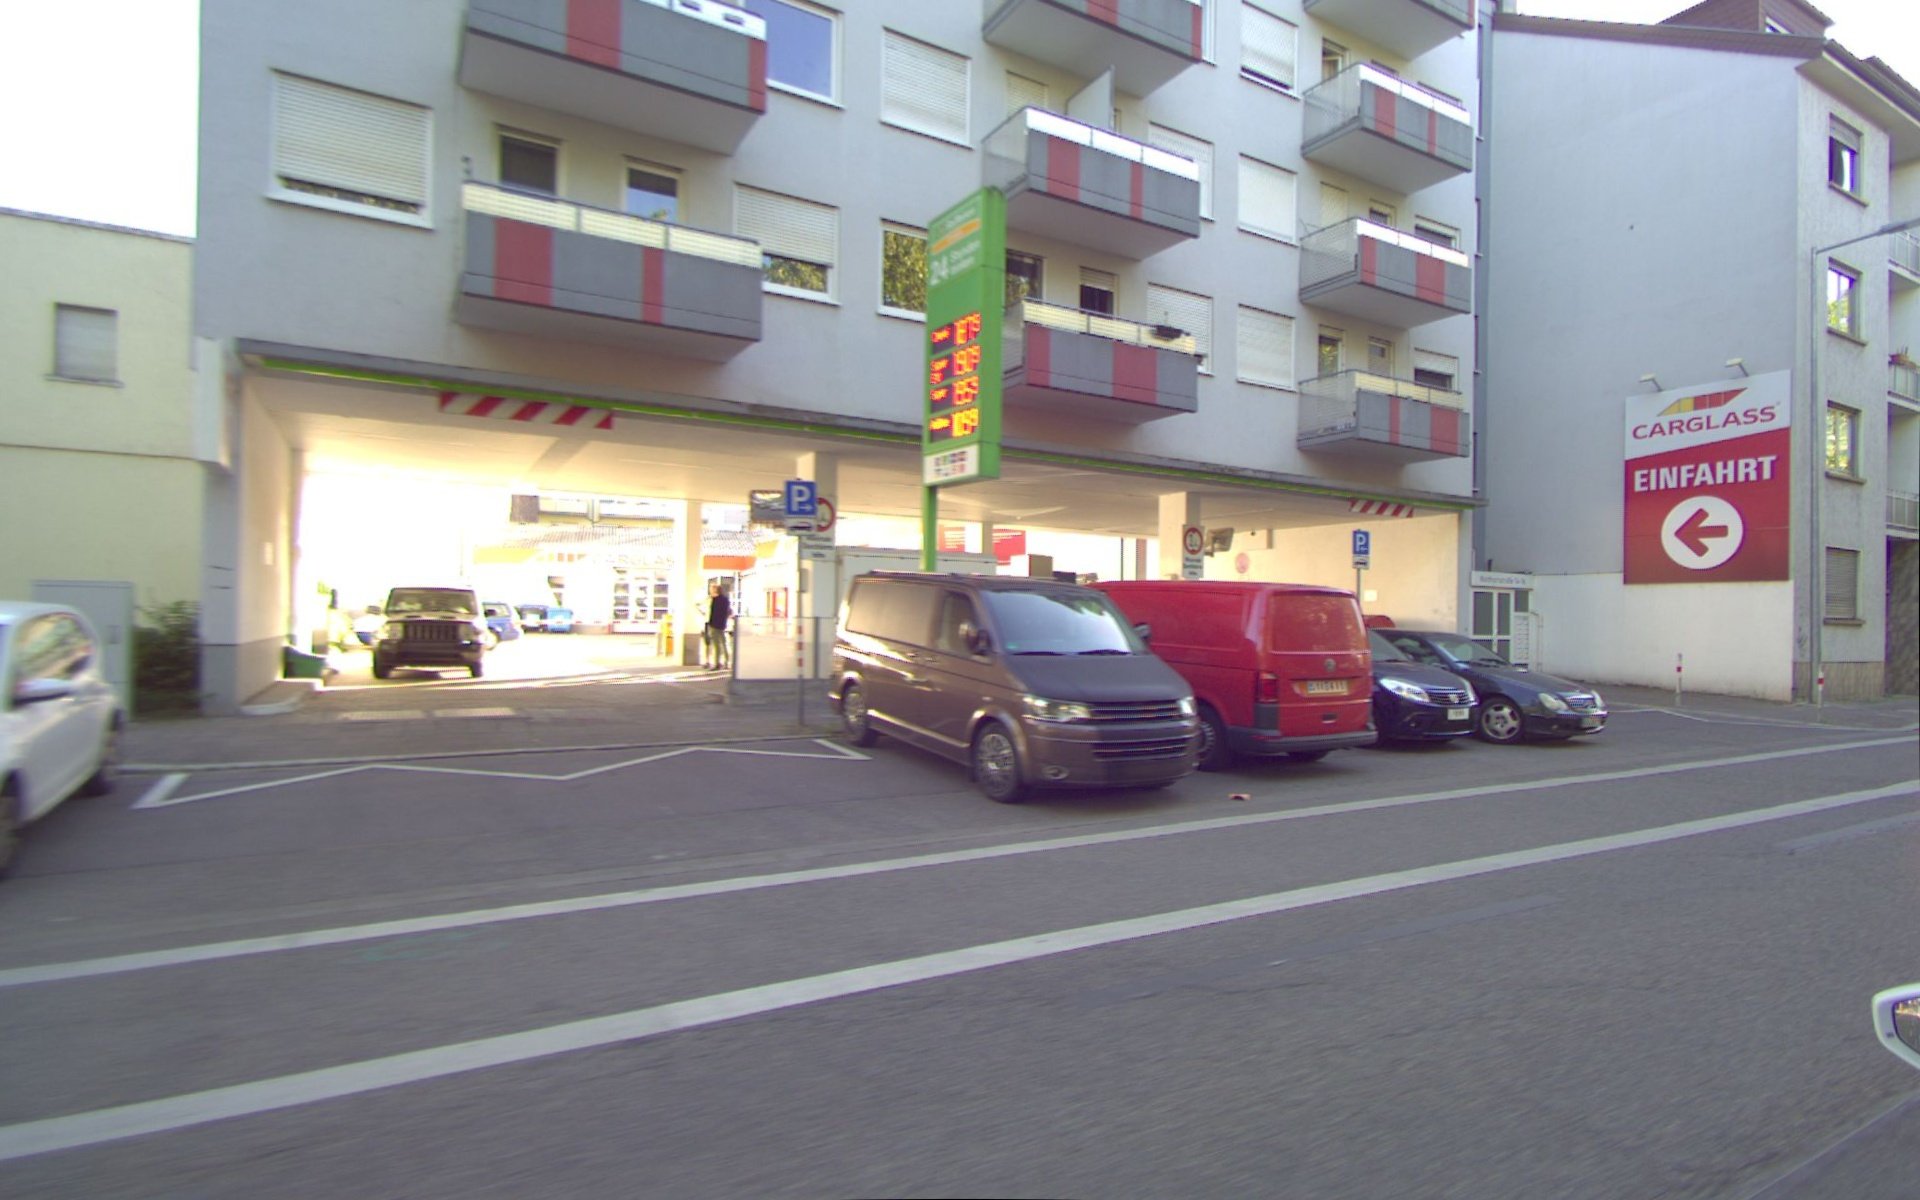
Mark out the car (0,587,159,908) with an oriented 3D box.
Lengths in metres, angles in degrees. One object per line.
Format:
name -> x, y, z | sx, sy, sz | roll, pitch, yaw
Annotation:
car -> -6.460, 0.717, 6.189 | 1.809, 1.533, 3.667 | 1, 1, -30

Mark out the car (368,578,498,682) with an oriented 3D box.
car -> -10.261, 0.526, 19.476 | 1.976, 1.773, 4.501 | 1, 0, -30

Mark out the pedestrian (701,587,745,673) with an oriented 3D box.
pedestrian -> -4.850, 0.613, 20.618 | 0.661, 1.724, 0.652 | 1, 0, 8

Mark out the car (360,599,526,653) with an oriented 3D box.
car -> -15.072, 0.746, 29.374 | 4.204, 1.483, 1.767 | 1, 0, -30

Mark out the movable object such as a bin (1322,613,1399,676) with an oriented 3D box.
movable object such as a bin -> 9.303, 1.021, 23.342 | 1.077, 1.419, 1.272 | 1, -1, -30

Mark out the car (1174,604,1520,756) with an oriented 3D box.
car -> 5.064, 0.949, 13.742 | 1.864, 1.584, 4.153 | 1, 1, -30

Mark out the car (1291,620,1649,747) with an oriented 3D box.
car -> 7.183, 1.087, 14.615 | 2.022, 1.398, 4.208 | 2, 0, -30

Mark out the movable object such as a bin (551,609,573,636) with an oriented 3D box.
movable object such as a bin -> -20.061, 1.129, 50.668 | 0.984, 1.330, 0.839 | 2, 0, -20

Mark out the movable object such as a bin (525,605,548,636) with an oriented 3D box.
movable object such as a bin -> -21.216, 1.016, 50.367 | 0.984, 1.475, 0.839 | 2, 0, -20

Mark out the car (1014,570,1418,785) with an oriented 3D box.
car -> 2.739, 0.689, 11.844 | 2.121, 1.978, 4.400 | 1, 1, -30

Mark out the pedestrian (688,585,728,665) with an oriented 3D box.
pedestrian -> -5.357, 0.527, 21.398 | 0.622, 1.671, 0.539 | 1, 0, 13

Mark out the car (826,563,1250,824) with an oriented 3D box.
car -> 0.472, 0.656, 10.062 | 2.032, 1.978, 4.501 | 1, 1, -30
